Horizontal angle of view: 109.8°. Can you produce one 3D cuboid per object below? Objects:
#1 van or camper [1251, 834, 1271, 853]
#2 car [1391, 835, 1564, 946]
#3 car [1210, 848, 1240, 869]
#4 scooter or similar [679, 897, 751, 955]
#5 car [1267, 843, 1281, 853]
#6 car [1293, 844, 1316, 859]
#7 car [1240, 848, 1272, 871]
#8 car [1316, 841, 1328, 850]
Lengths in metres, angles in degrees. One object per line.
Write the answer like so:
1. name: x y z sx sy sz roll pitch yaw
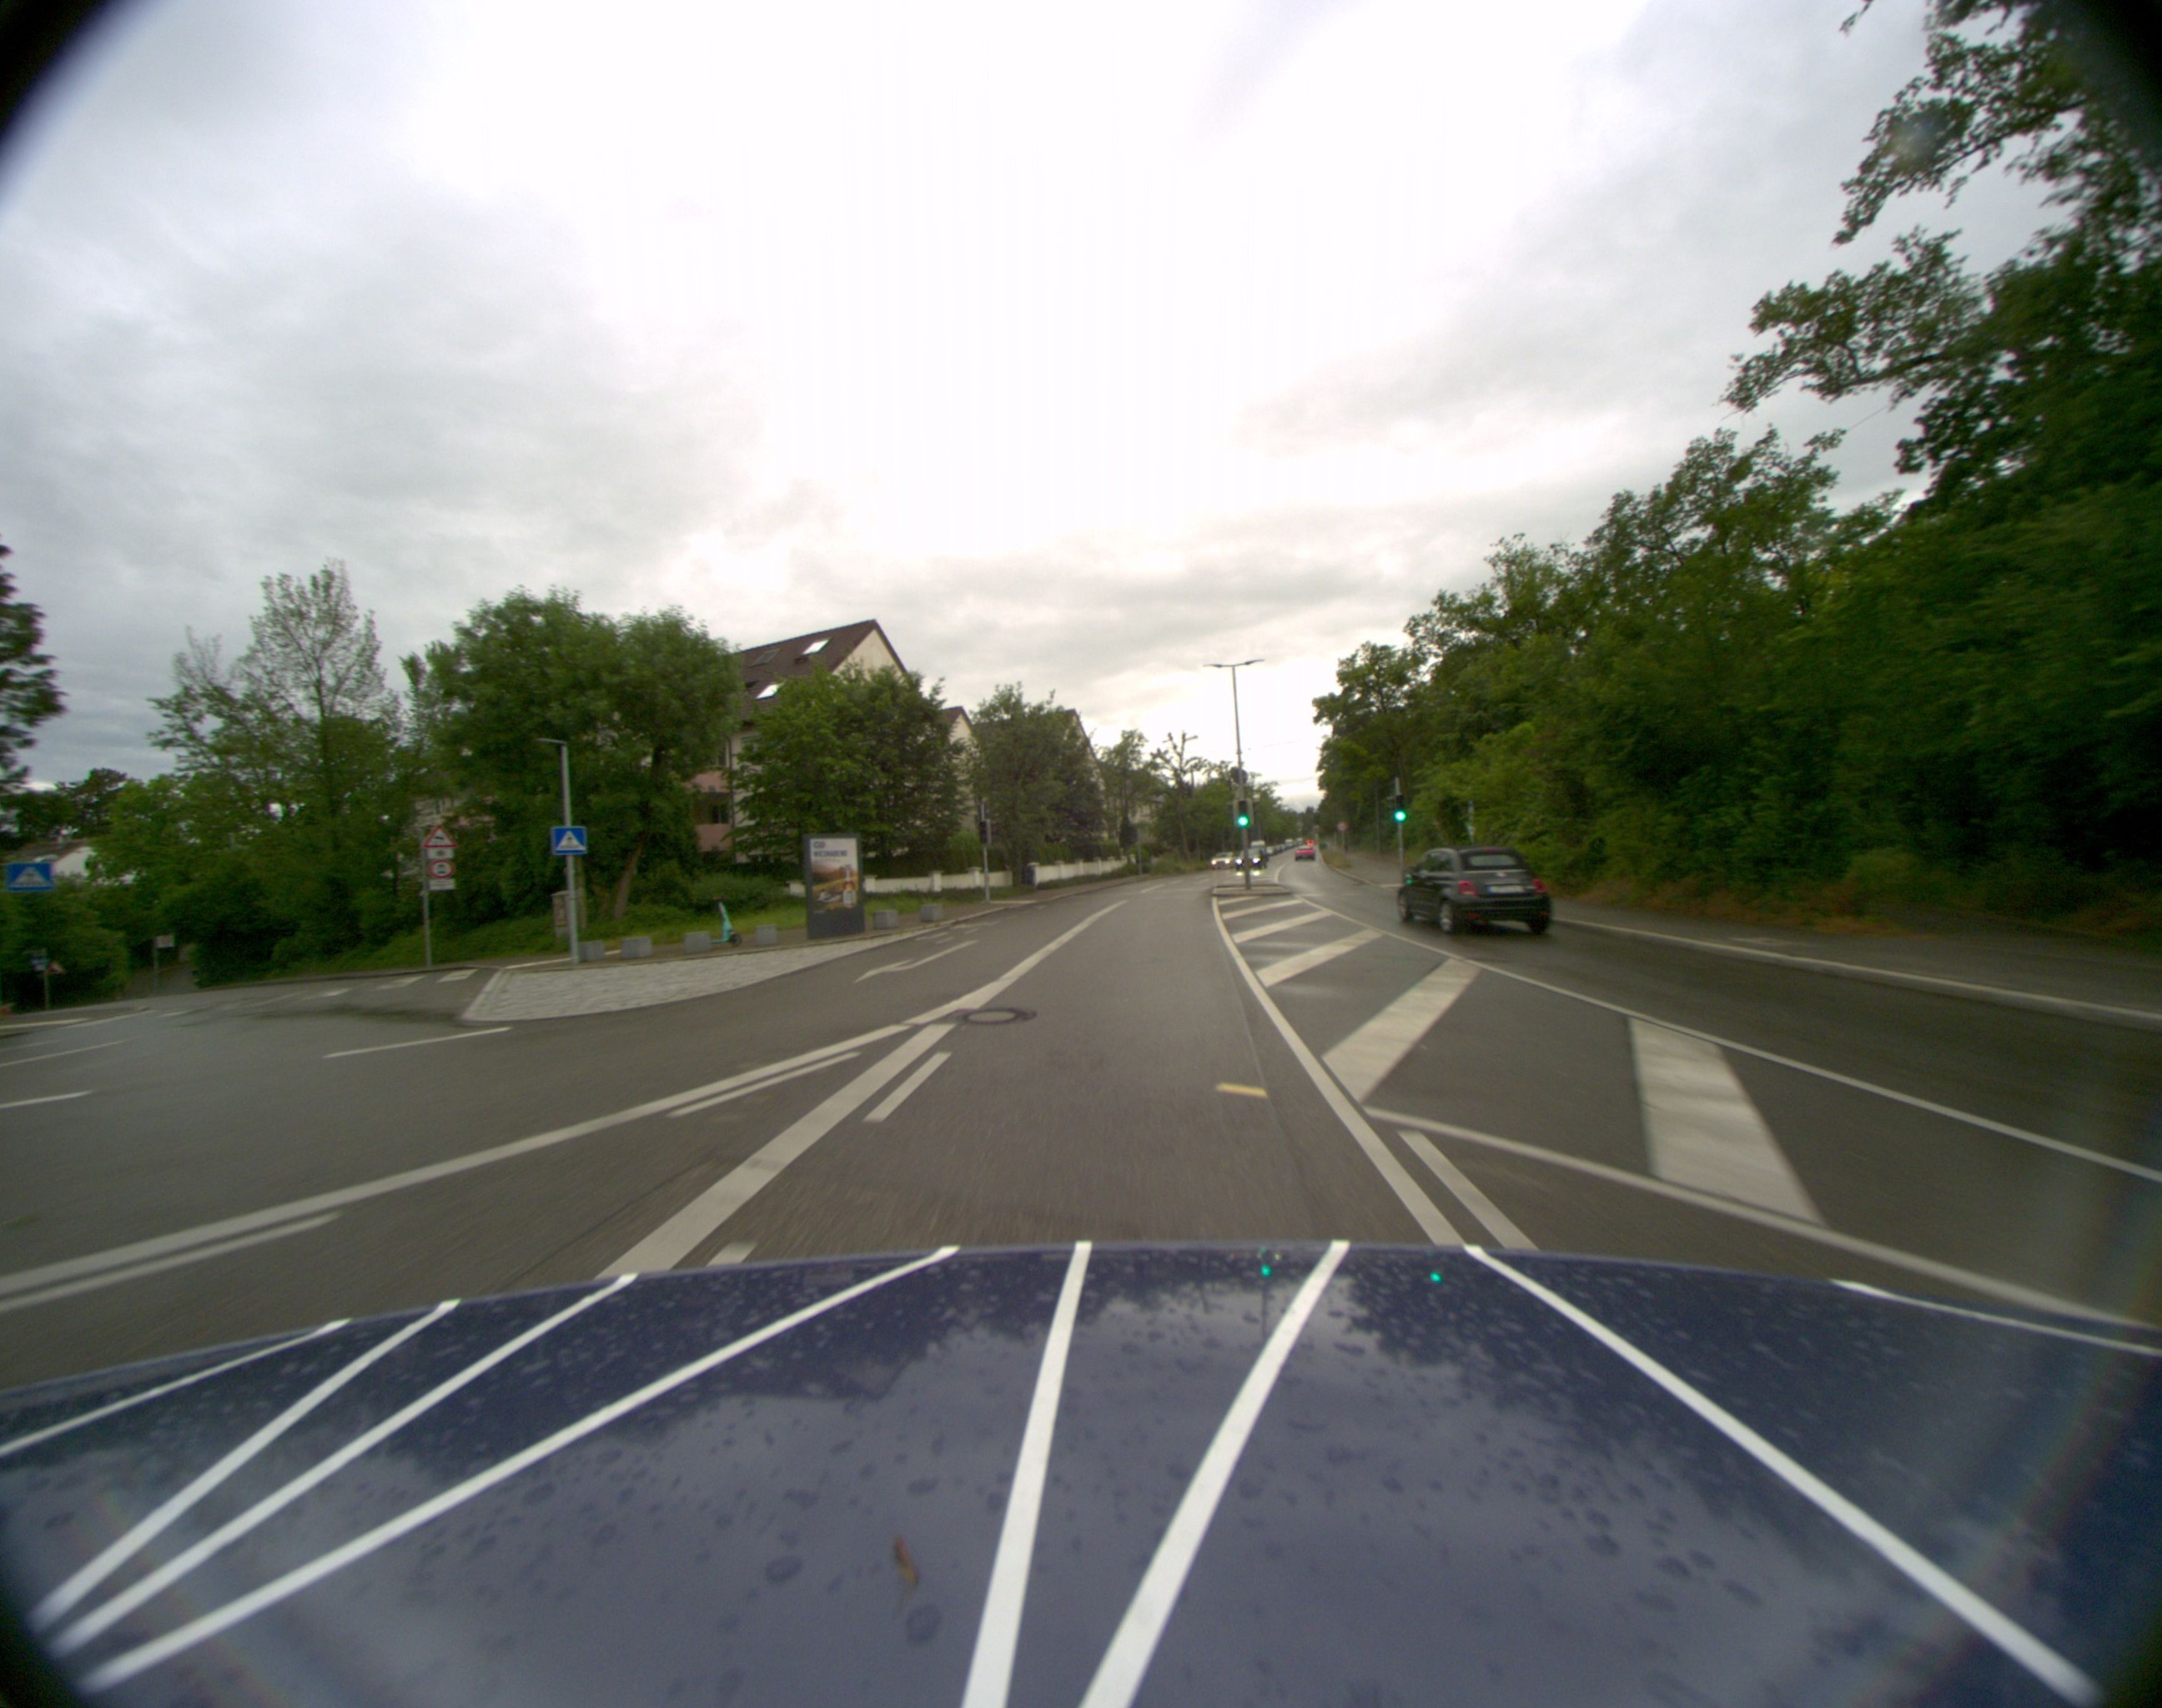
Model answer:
1. van or camper: 24.824 -1.475 104.694 1.996 2.438 4.727 -3 0 19
2. car: 7.029 0.574 13.892 1.579 1.720 3.777 -2 0 8
3. car: 11.841 0.331 62.190 1.942 1.594 4.609 -2 0 16
4. scooter or similar: -8.526 1.674 17.733 1.351 1.200 0.525 -6 1 10
5. car: 31.424 -1.012 123.854 1.942 1.594 4.609 -2 0 16
6. car: 22.635 -0.294 76.981 1.943 1.368 4.608 -2 0 14
7. car: 12.434 0.365 53.834 1.943 1.446 4.609 -2 0 15
8. car: 43.871 -1.521 138.180 1.942 1.594 4.609 -2 0 16
